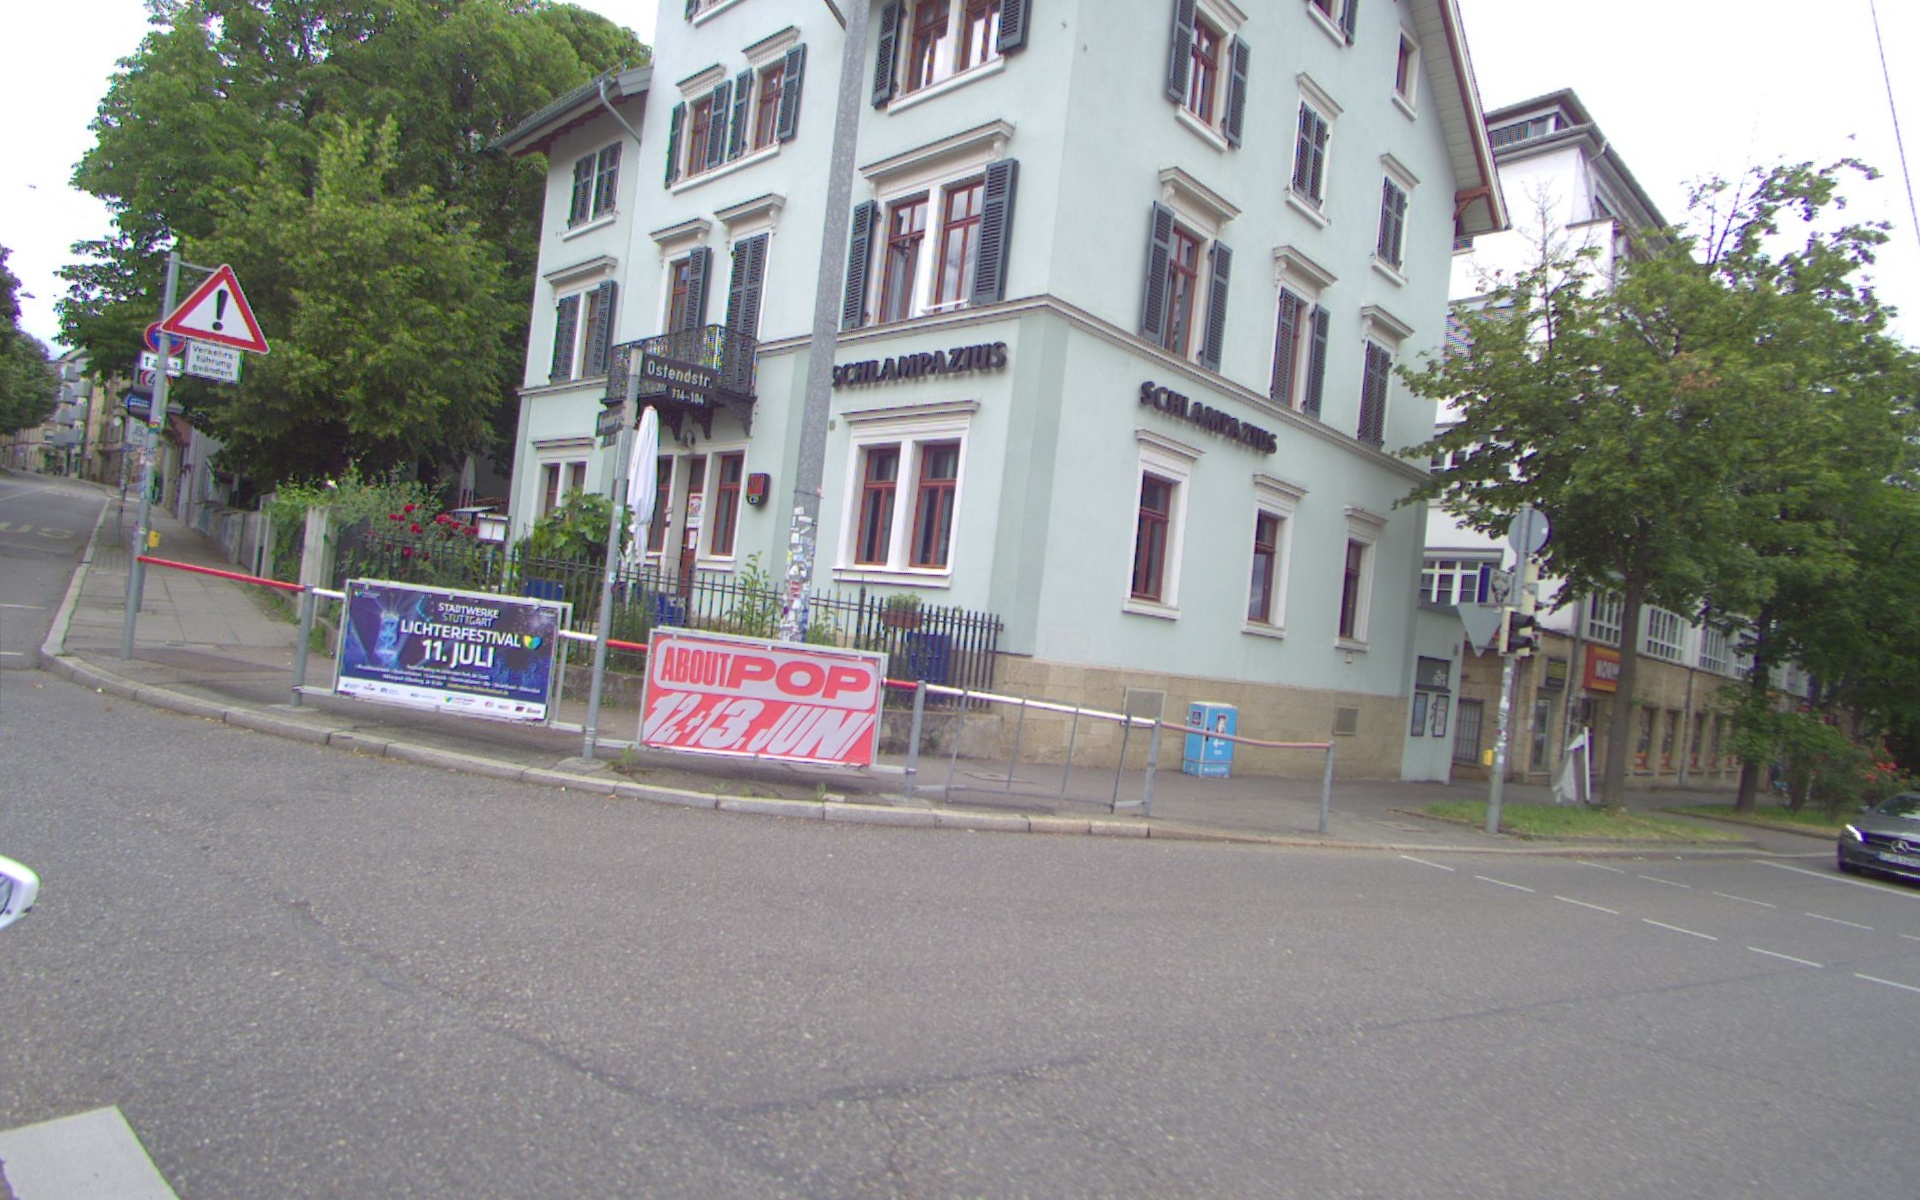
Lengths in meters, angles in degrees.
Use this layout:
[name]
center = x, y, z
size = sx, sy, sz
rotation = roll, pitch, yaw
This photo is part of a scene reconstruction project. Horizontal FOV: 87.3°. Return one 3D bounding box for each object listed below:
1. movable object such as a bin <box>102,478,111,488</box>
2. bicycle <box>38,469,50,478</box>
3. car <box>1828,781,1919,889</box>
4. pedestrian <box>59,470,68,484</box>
[movable object such as a bin]
center = -91.717, -12.601, 108.118
size = 0.555, 0.915, 0.593
rotation = 8, 0, 44
[bicycle]
center = -135.041, -18.678, 148.322
size = 2.938, 1.142, 0.878
rotation = 6, -2, 42
[car]
center = 15.849, 3.835, 16.169
size = 3.994, 1.404, 1.867
rotation = 9, -2, -35
[pedestrian]
center = -121.515, -16.689, 136.402
size = 0.847, 1.713, 0.749
rotation = 6, 0, 44
